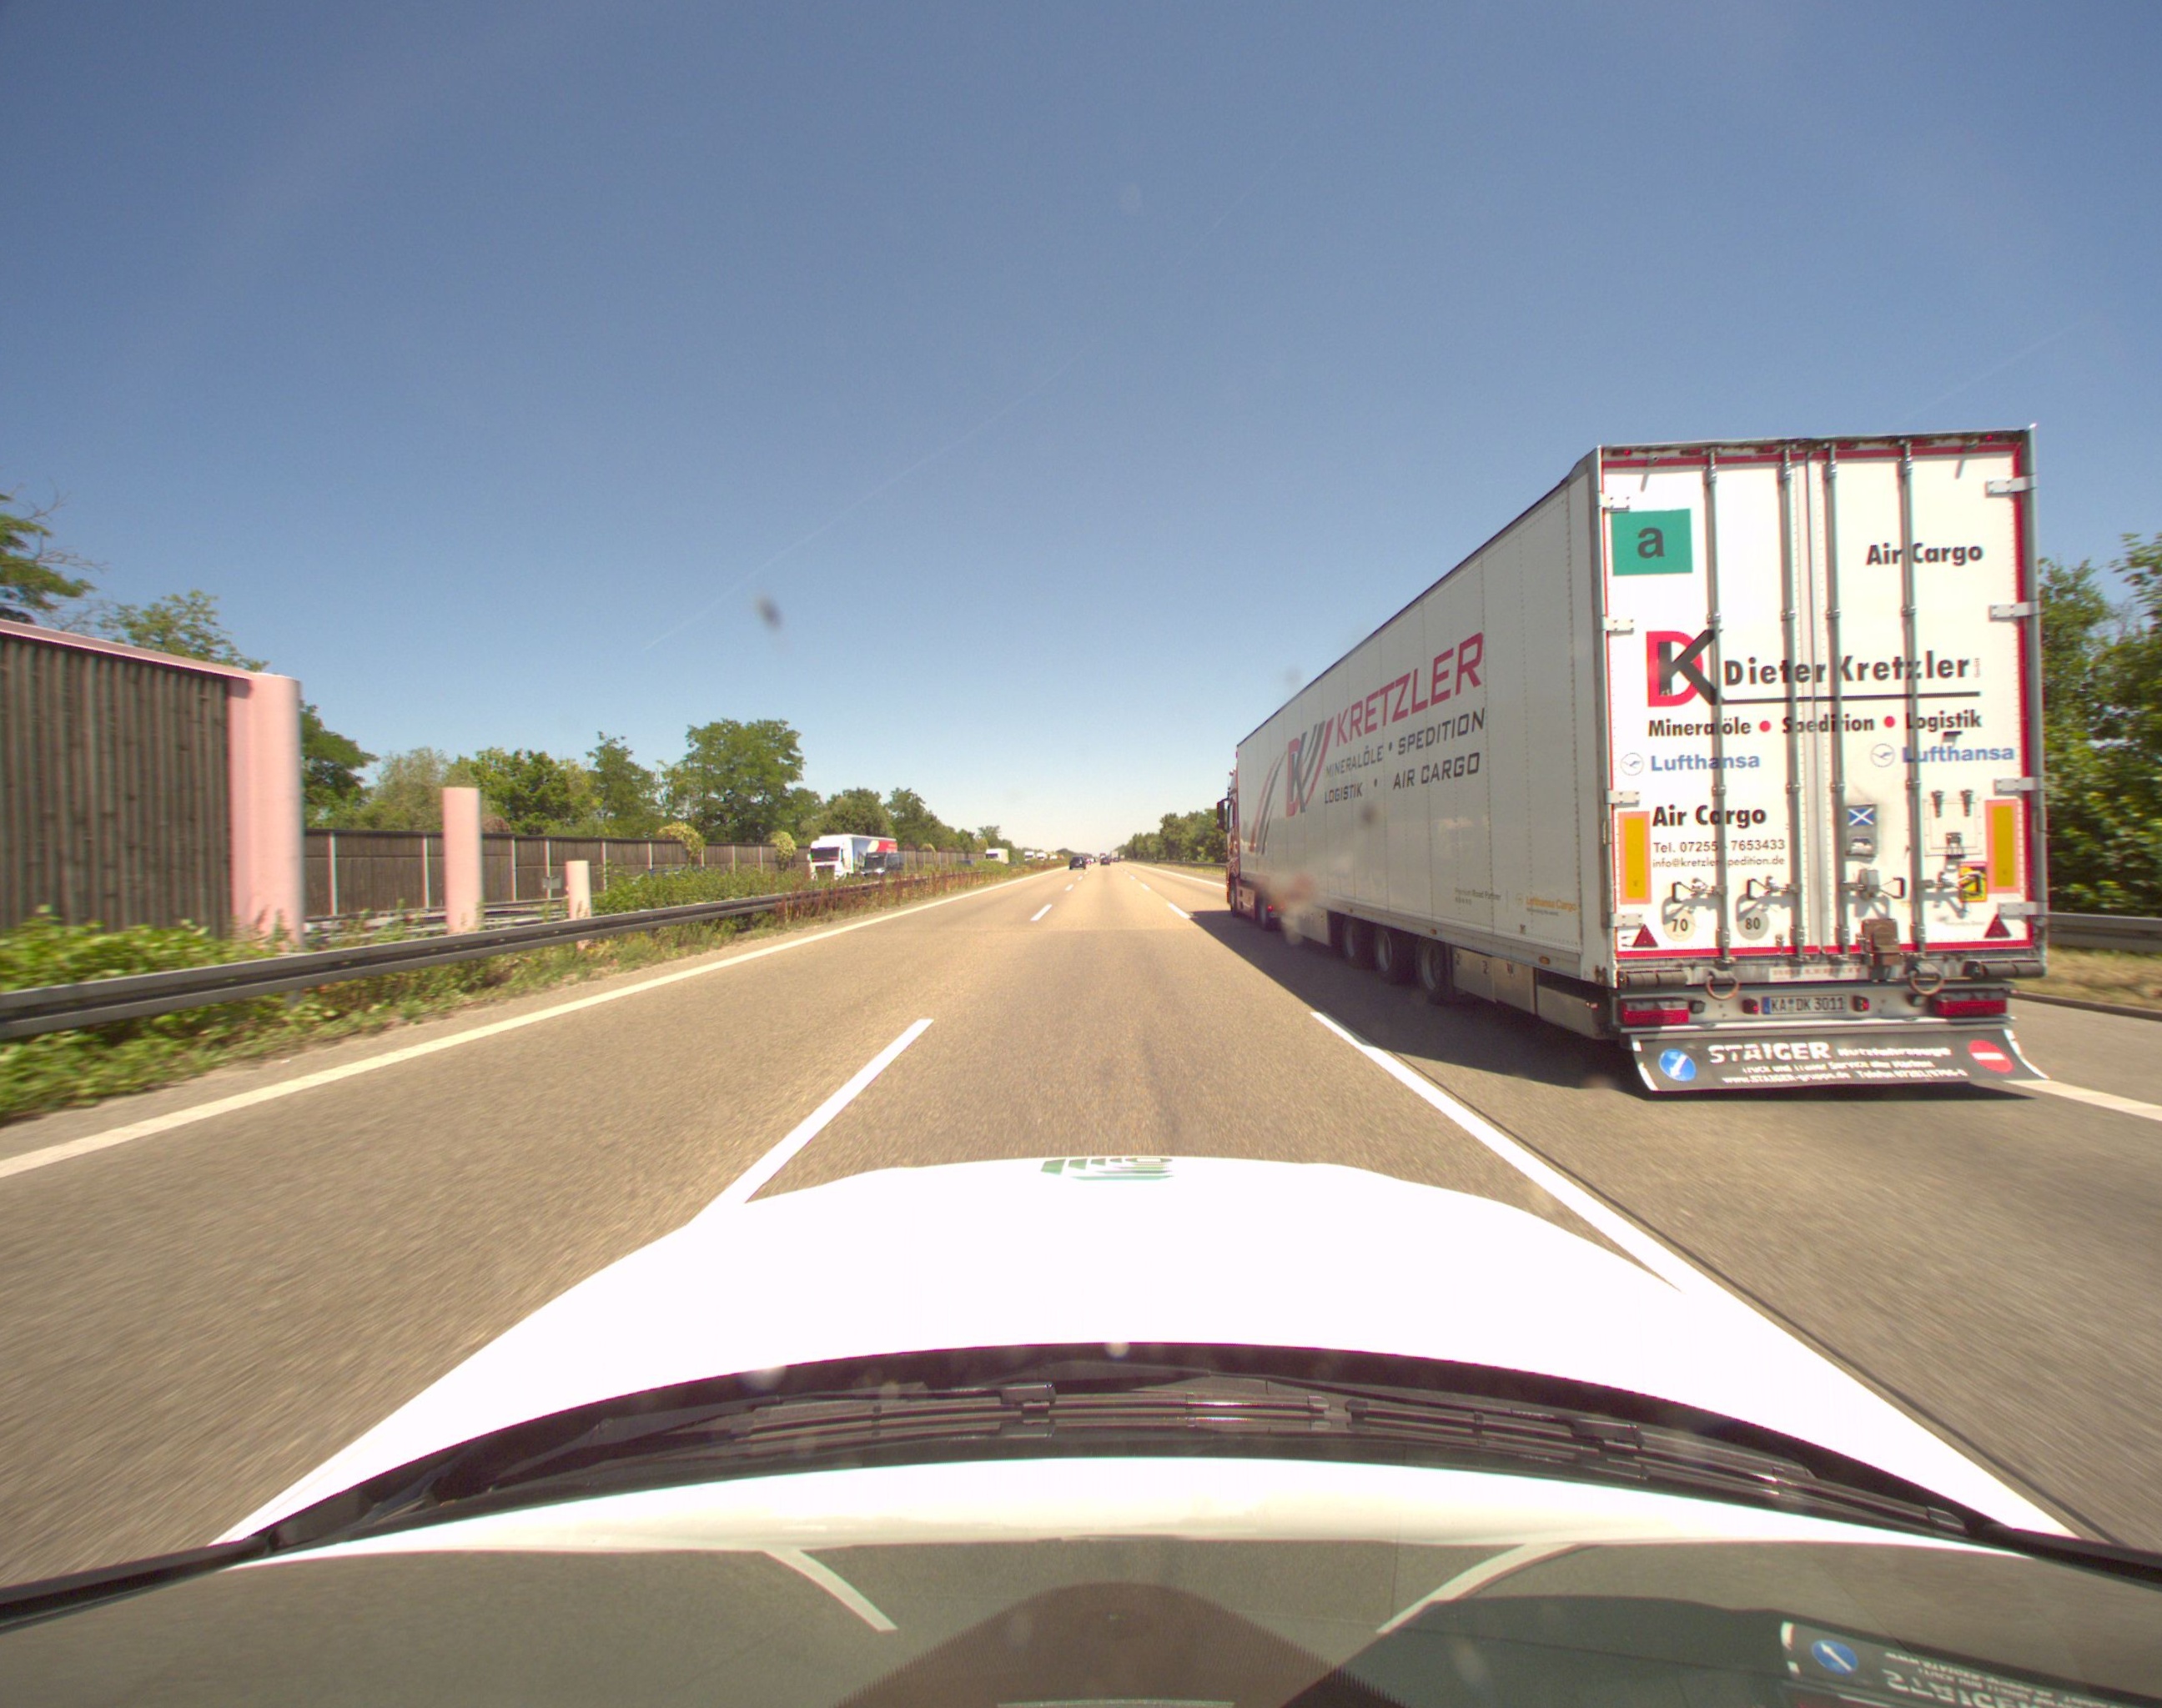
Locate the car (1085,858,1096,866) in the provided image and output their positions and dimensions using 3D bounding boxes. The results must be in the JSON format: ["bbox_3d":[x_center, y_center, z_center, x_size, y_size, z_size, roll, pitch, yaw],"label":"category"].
[{"bbox_3d":[2.088,1.656,171.139,2.120,1.645,4.306,-2,0,2],"label":"car"}]

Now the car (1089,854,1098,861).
[{"bbox_3d":[3.526,1.014,228.796,2.120,1.645,4.306,-2,0,2],"label":"car"}]

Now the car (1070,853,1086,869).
[{"bbox_3d":[-0.401,0.824,99.631,1.874,1.792,4.000,-1,1,0],"label":"car"}]

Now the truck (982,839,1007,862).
[{"bbox_3d":[-16.759,-0.622,157.674,3.568,4.103,7.842,-2,0,2],"label":"truck"}]

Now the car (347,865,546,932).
[{"bbox_3d":[-19.666,1.306,25.638,2.083,1.761,5.140,-1,0,2],"label":"car"}]

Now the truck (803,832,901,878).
[{"bbox_3d":[-18.910,-0.024,69.012,2.827,3.342,17.013,-1,1,2],"label":"truck"}]

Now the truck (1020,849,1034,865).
[{"bbox_3d":[-15.394,0.806,233.347,3.205,4.440,7.874,-1,0,2],"label":"truck"}]

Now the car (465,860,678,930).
[{"bbox_3d":[-12.492,0.910,20.504,1.883,1.454,5.273,-1,0,2],"label":"car"}]

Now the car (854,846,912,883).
[{"bbox_3d":[-15.137,0.768,62.800,2.307,2.563,7.588,2,0,2],"label":"car"}]

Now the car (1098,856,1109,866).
[{"bbox_3d":[3.939,1.161,141.932,1.896,1.584,4.306,-2,0,2],"label":"car"}]

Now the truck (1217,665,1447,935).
[{"bbox_3d":[5.180,-1.013,18.401,3.222,4.889,6.975,-1,0,2],"label":"truck"}]

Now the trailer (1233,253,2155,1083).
[{"bbox_3d":[4.921,-1.155,11.833,3.257,4.837,14.037,-1,1,2],"label":"trailer"}]
